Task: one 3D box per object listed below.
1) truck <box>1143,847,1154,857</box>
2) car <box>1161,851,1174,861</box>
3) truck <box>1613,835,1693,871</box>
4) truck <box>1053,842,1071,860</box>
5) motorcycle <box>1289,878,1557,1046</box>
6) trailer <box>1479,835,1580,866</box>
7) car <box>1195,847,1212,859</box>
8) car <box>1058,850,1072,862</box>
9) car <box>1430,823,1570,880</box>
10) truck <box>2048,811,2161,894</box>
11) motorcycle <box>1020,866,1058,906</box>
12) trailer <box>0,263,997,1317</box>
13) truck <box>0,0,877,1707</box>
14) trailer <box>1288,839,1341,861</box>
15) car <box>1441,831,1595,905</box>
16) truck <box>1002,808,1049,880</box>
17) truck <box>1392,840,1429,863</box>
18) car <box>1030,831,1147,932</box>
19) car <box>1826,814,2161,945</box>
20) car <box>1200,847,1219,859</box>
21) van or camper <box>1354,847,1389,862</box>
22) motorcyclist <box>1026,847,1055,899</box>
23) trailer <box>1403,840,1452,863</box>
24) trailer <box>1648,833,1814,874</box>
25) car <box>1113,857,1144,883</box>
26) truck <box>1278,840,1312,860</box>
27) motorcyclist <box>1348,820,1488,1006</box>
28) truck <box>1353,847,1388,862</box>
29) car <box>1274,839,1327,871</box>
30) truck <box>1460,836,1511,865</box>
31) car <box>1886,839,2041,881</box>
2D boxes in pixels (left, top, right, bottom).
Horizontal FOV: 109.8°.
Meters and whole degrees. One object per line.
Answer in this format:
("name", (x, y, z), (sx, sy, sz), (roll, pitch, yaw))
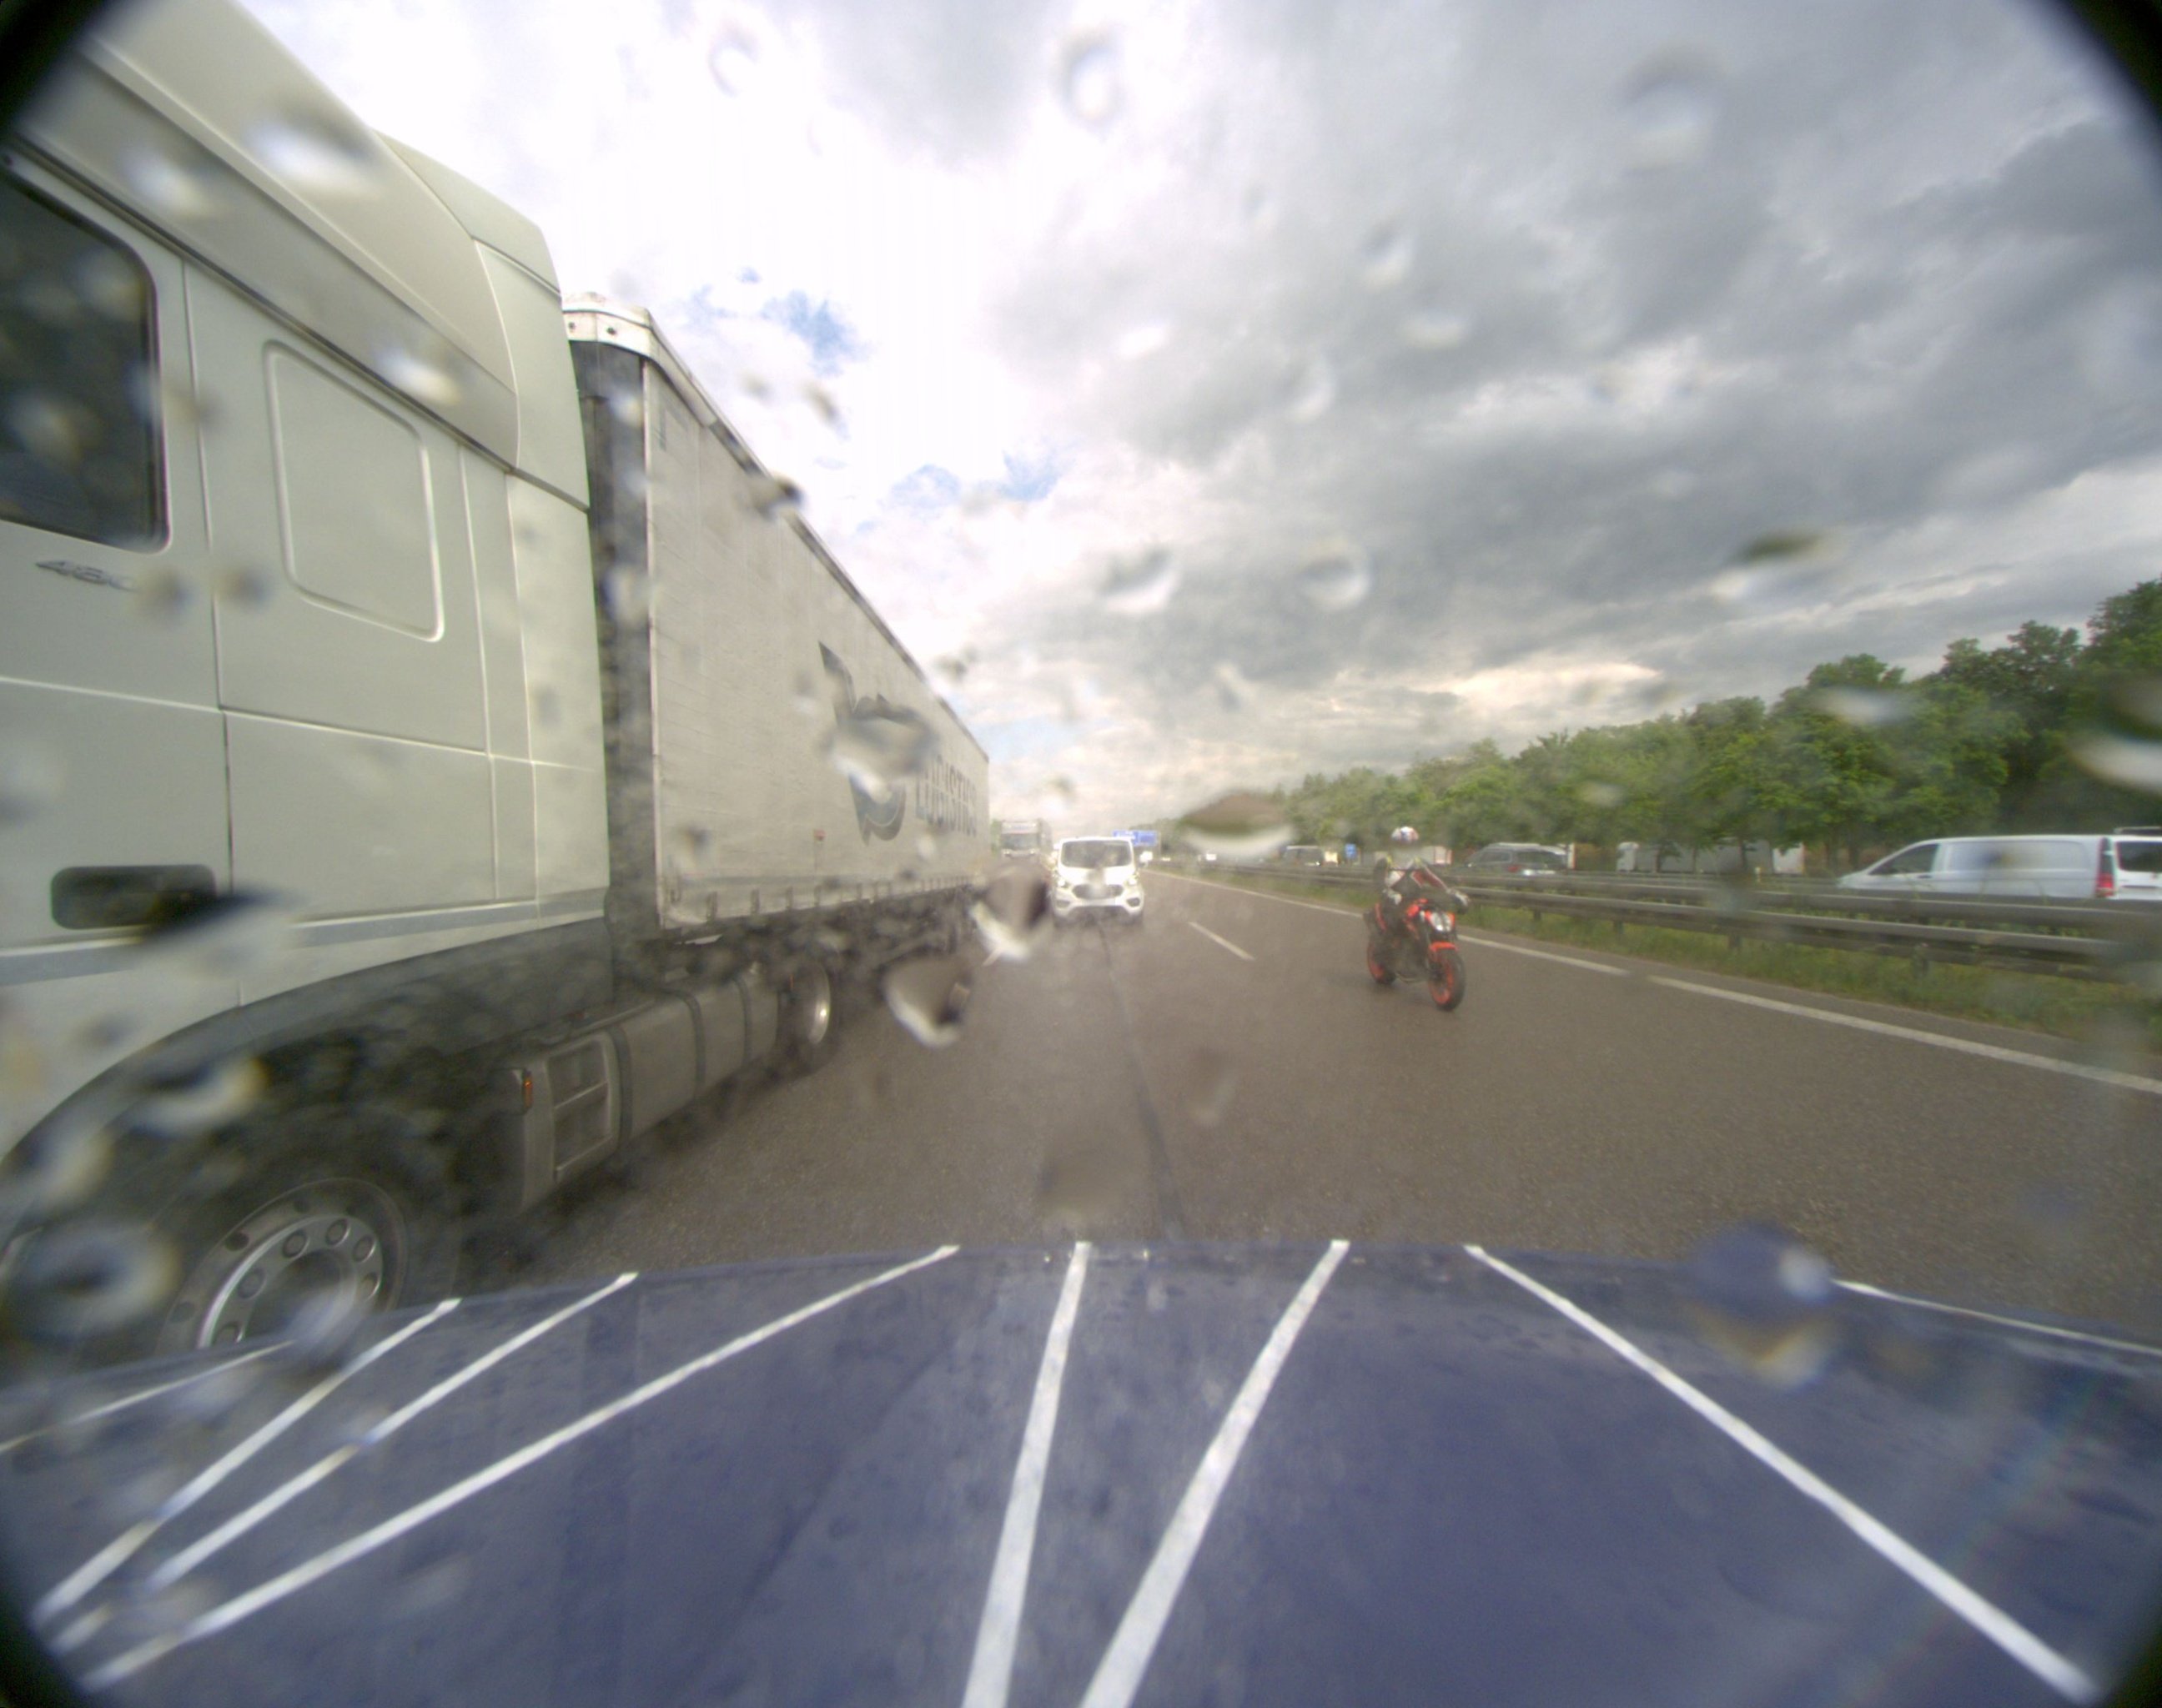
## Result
("truck", (20.234, -0.644, 228.226), (2.849, 2.666, 7.191), (-2, 1, 1))
("car", (18.653, 0.411, 164.550), (2.051, 1.880, 5.258), (-2, 1, 0))
("truck", (55.195, -0.118, 73.525), (3.362, 3.254, 5.505), (-2, 1, -4))
("truck", (-3.822, -0.662, 154.886), (3.218, 3.607, 10.152), (-2, 1, 0))
("motorcycle", (3.287, 0.944, 7.904), (1.188, 1.219, 3.193), (-2, 1, -3))
("trailer", (53.000, -0.446, 90.524), (2.832, 3.385, 13.417), (-1, 0, -7))
("car", (21.216, -0.196, 131.980), (2.051, 1.880, 5.258), (-2, 1, 0))
("car", (-2.742, 0.304, 134.724), (2.350, 2.033, 5.142), (-2, 1, 0))
("car", (17.023, -0.125, 31.409), (2.179, 2.034, 6.499), (-2, 1, 0))
("truck", (56.903, -0.136, 39.009), (3.797, 4.210, 8.416), (-2, 1, 1))
("motorcycle", (-1.419, 1.054, 25.736), (1.188, 1.142, 3.193), (-2, 1, -3))
("trailer", (-3.545, -0.234, 9.915), (3.292, 3.876, 14.126), (-2, 0, -1))
("truck", (-3.479, -0.183, 3.414), (3.293, 3.868, 6.395), (-2, 0, -1))
("trailer", (43.110, -0.722, 140.909), (3.216, 3.717, 12.554), (-1, 0, -14))
("car", (13.649, 0.380, 24.144), (2.179, 2.034, 4.651), (-2, 1, 0))
("truck", (-3.481, -0.623, 48.764), (2.650, 4.250, 6.882), (-2, 1, -3))
("truck", (49.367, -0.369, 113.869), (2.663, 3.249, 5.081), (-2, 1, -10))
("car", (0.148, 0.542, 18.334), (2.350, 2.033, 5.142), (-2, 1, 0))
("car", (17.409, 0.360, 14.310), (2.179, 2.034, 4.651), (-2, 1, 0))
("car", (21.280, -0.260, 125.998), (2.051, 1.880, 5.258), (-2, 1, 0))
("van or camper", (47.538, 0.077, 124.622), (2.126, 2.252, 6.316), (-2, 1, -13))
("motorcyclist", (-1.360, 0.627, 25.508), (0.883, 1.696, 1.000), (-2, 1, -2))
("trailer", (50.104, -0.365, 110.132), (2.588, 3.214, 7.734), (-1, 0, -10))
("trailer", (55.510, -0.035, 65.675), (3.356, 3.198, 12.471), (-1, 0, -2))
("car", (4.162, 1.380, 67.324), (2.350, 2.033, 5.142), (-2, 1, 0))
("truck", (41.481, -0.752, 147.285), (3.219, 3.683, 6.907), (-2, 1, -14))
("motorcyclist", (3.296, 0.540, 7.530), (0.883, 1.696, 1.000), (-2, 1, -2))
("truck", (47.468, 0.078, 124.807), (2.126, 2.252, 6.311), (-2, 1, -13))
("car", (14.092, 0.040, 49.100), (1.958, 1.880, 5.057), (-2, 1, 0))
("truck", (52.107, -0.453, 97.967), (2.869, 3.436, 5.892), (-2, 1, -7))
("car", (56.536, 0.333, 48.957), (2.800, 2.468, 6.209), (-2, 1, 1))
